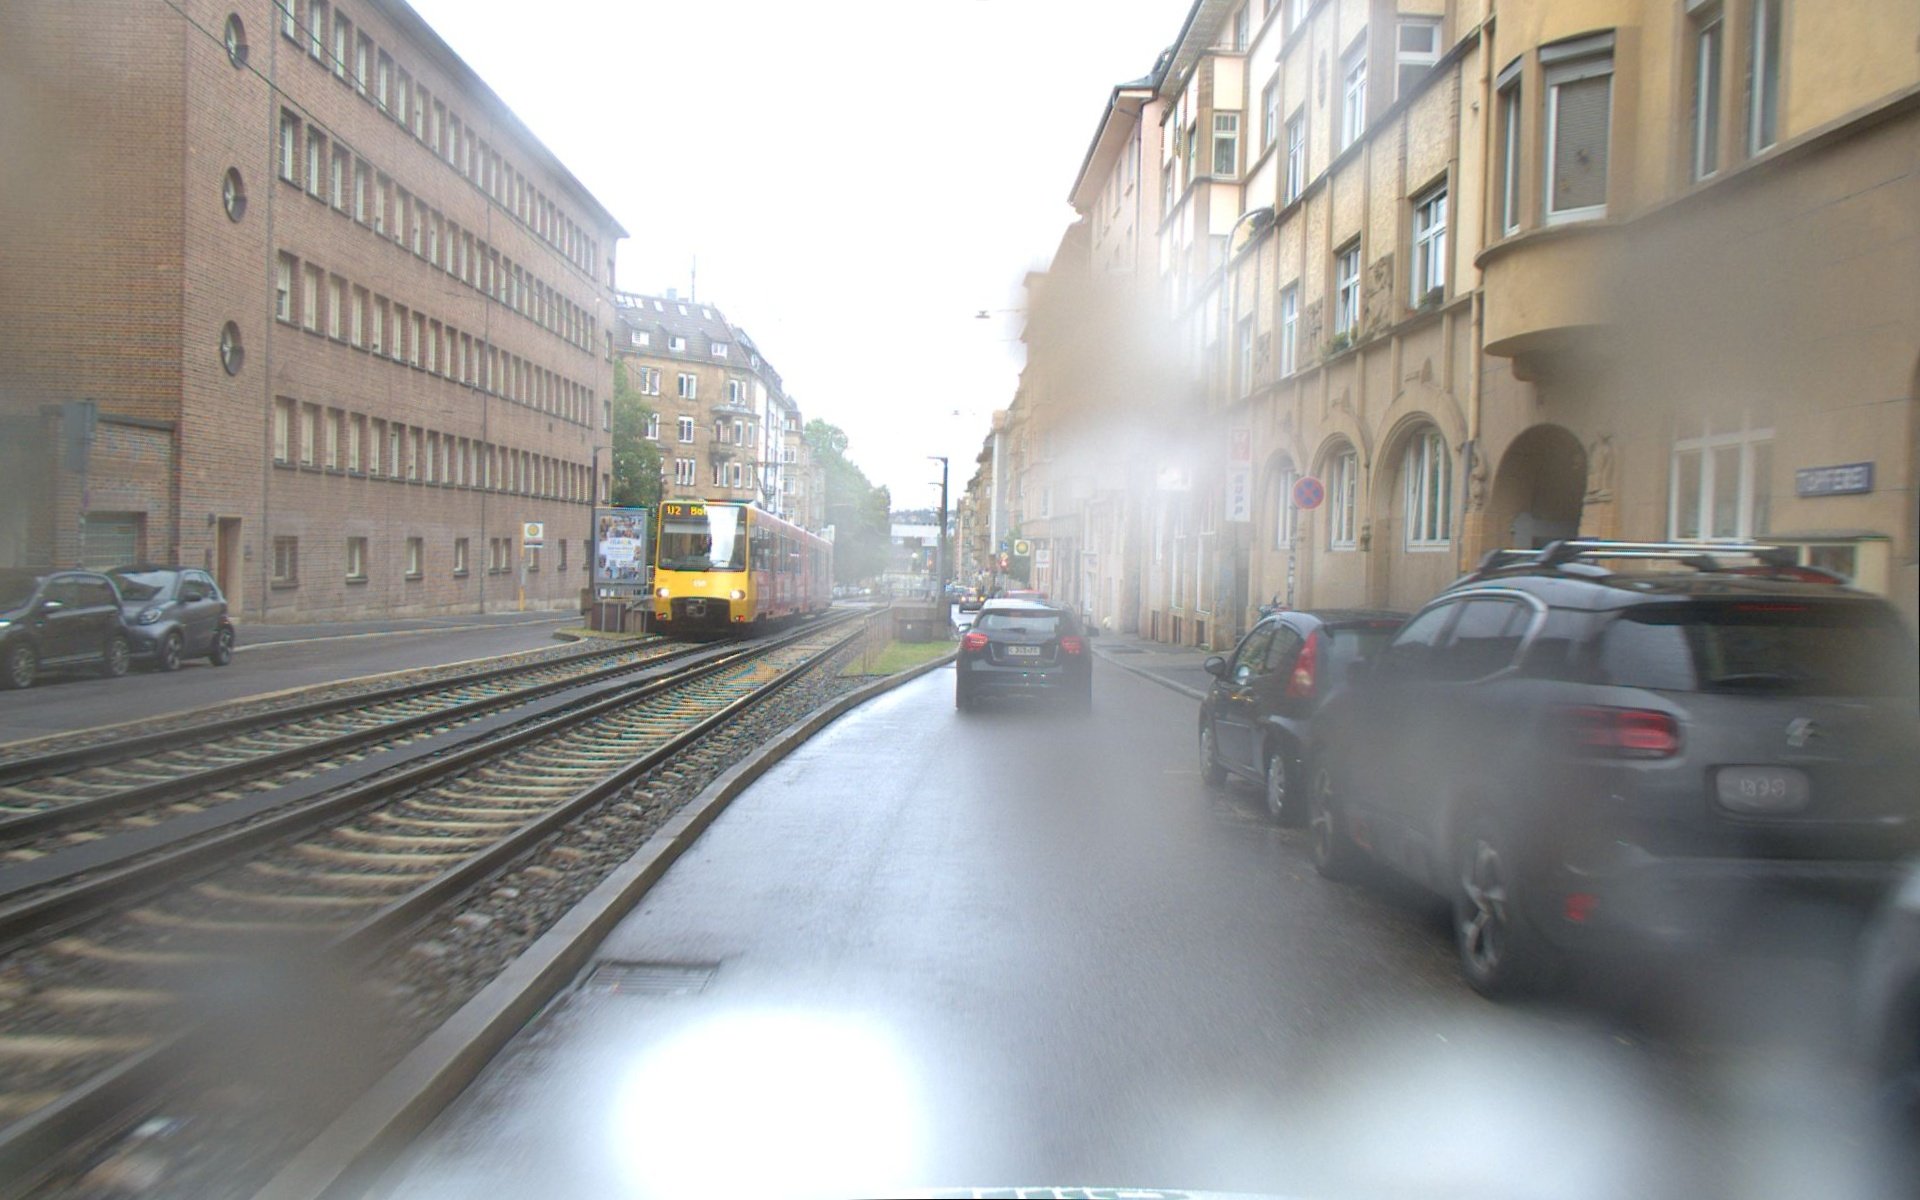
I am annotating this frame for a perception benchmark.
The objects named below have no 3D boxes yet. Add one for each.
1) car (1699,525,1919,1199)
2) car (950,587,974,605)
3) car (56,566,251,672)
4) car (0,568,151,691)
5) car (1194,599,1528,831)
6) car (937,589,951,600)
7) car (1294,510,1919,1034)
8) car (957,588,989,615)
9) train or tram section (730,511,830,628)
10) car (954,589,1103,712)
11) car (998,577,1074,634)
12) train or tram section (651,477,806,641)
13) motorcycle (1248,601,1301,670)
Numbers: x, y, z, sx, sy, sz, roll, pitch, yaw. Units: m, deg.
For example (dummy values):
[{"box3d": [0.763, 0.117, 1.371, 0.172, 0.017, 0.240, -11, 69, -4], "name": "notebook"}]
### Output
[{"box3d": [2.753, 0.670, 1.876, 1.803, 1.636, 4.761, 1, 0, 1], "name": "car"}, {"box3d": [0.189, -0.370, 151.657, 2.091, 1.552, 4.245, 2, 0, -1], "name": "car"}, {"box3d": [-12.285, 0.260, 25.386, 1.540, 1.492, 3.044, 2, 1, -2], "name": "car"}, {"box3d": [-12.281, 0.325, 21.622, 1.633, 1.440, 3.686, 2, 1, -1], "name": "car"}, {"box3d": [2.881, 0.768, 12.554, 1.560, 1.465, 3.308, 2, -1, -3], "name": "car"}, {"box3d": [-2.374, -0.794, 245.671, 2.091, 1.552, 4.245, 2, 0, -1], "name": "car"}, {"box3d": [2.933, 0.606, 7.937, 1.742, 1.780, 4.548, 1, 0, 0], "name": "car"}, {"box3d": [0.797, 0.068, 100.671, 1.848, 1.552, 4.246, 2, 0, 1], "name": "car"}, {"box3d": [-7.058, -1.143, 66.944, 2.690, 4.132, 15.656, 1, 0, -1], "name": "train or tram section"}, {"box3d": [0.839, 0.623, 22.293, 1.797, 1.478, 3.901, 1, 0, -1], "name": "car"}, {"box3d": [2.195, 0.160, 48.747, 1.953, 1.552, 4.245, 2, 0, -1], "name": "car"}, {"box3d": [-6.676, -1.100, 50.581, 2.690, 4.132, 17.209, 1, 0, -1], "name": "train or tram section"}, {"box3d": [5.848, 0.641, 30.844, 0.545, 1.180, 2.269, -3, 1, 1], "name": "motorcycle"}]
